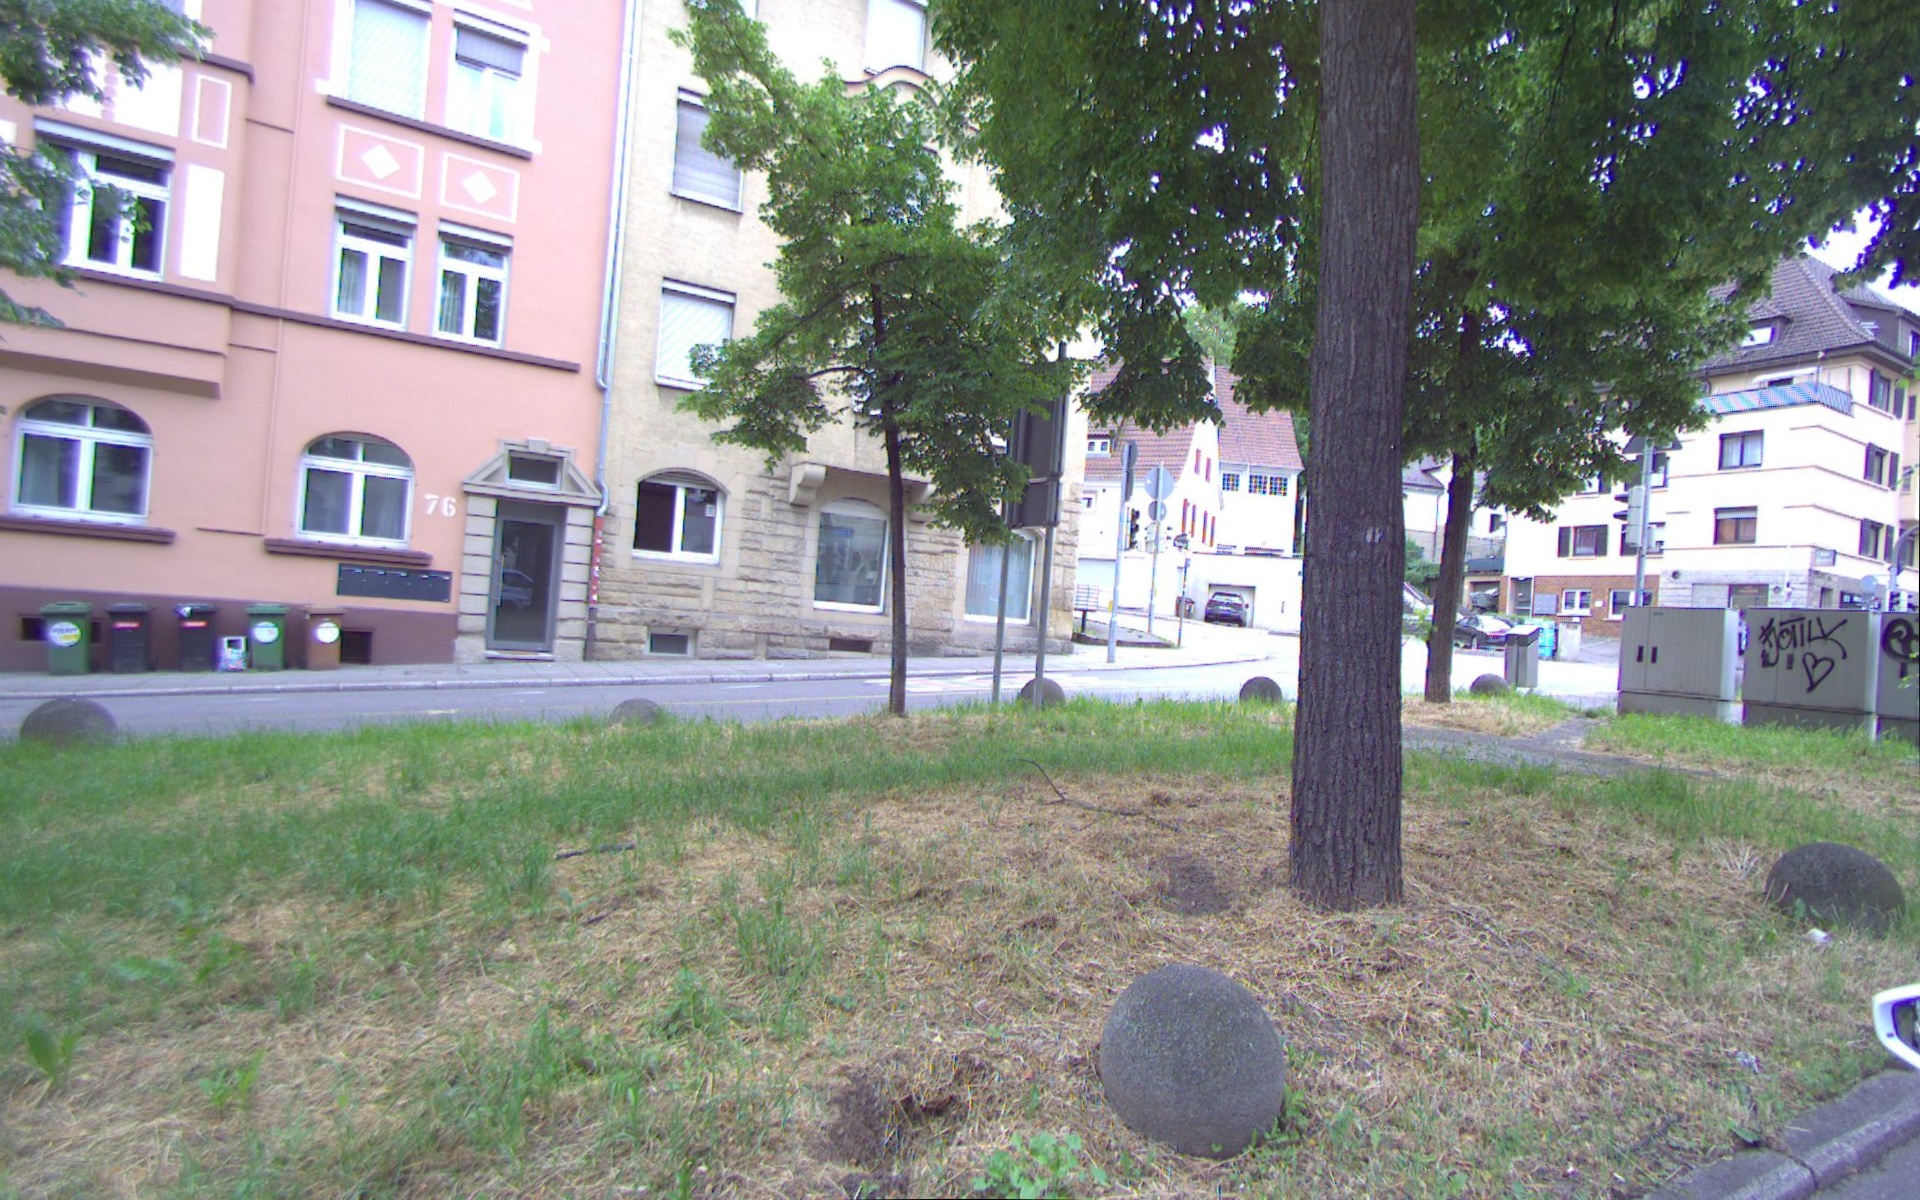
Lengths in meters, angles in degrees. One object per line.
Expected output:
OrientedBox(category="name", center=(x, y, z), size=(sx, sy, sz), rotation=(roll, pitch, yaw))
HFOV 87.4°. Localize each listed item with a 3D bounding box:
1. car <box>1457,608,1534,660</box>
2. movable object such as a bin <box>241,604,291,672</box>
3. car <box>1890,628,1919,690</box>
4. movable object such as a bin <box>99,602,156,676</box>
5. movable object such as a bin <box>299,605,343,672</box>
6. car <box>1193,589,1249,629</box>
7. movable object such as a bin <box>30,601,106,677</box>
OrientedBox(category="car", center=(21.863, 1.331, 41.141), size=(1.832, 1.619, 3.519), rotation=(2, 6, 13))
OrientedBox(category="movable object such as a bin", center=(-9.816, 0.529, 14.229), size=(0.554, 0.934, 0.649), rotation=(2, 0, -34))
OrientedBox(category="car", center=(27.783, 1.653, 27.586), size=(4.502, 1.631, 1.965), rotation=(2, 0, -29))
OrientedBox(category="movable object such as a bin", center=(-11.155, 0.515, 13.471), size=(0.527, 0.958, 0.576), rotation=(2, 0, -36))
OrientedBox(category="movable object such as a bin", center=(-9.270, 0.547, 14.566), size=(0.510, 0.934, 0.752), rotation=(2, 0, -34))
OrientedBox(category="car", center=(11.583, 0.355, 44.799), size=(1.639, 1.424, 3.057), rotation=(7, 3, 2))
OrientedBox(category="movable object such as a bin", center=(-11.651, 0.504, 13.139), size=(0.611, 0.961, 0.613), rotation=(2, 0, -31))
